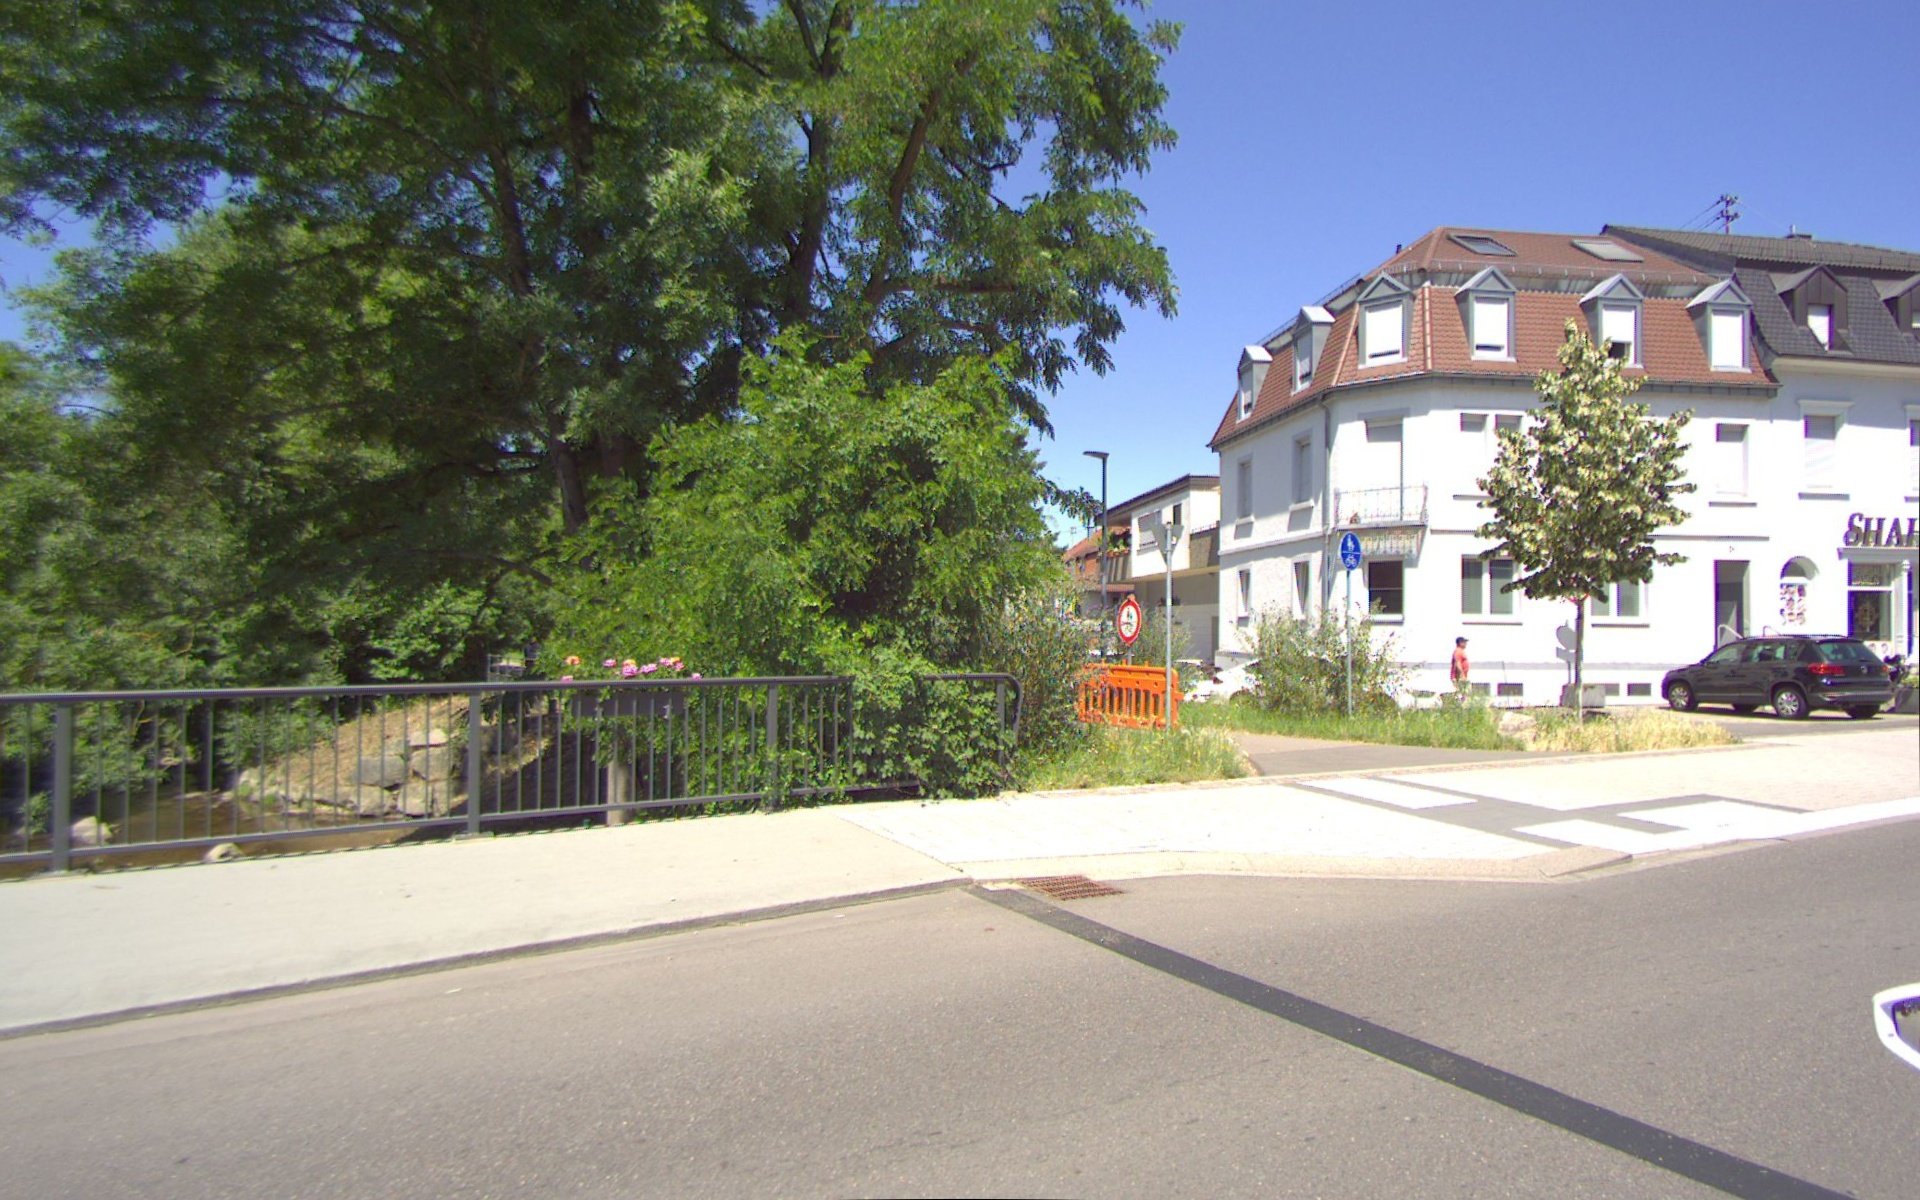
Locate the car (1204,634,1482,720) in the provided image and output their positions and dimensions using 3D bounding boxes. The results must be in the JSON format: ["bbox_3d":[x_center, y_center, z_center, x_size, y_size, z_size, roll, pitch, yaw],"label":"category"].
[{"bbox_3d":[7.259,1.399,19.427,1.985,1.374,4.653,2,-2,-41],"label":"car"}]

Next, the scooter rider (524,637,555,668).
[{"bbox_3d":[-15.157,1.894,36.195,0.796,1.065,0.910,1,0,-38],"label":"scooter rider"}]

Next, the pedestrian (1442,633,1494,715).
[{"bbox_3d":[11.264,1.628,22.267,0.730,1.777,0.731,2,-4,-30],"label":"pedestrian"}]

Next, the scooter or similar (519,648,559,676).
[{"bbox_3d":[-15.180,2.234,36.193,0.911,0.936,1.607,2,-2,-39],"label":"scooter or similar"}]

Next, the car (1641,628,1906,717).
[{"bbox_3d":[17.091,1.457,21.413,1.935,1.684,4.188,1,-2,-9],"label":"car"}]

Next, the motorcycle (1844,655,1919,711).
[{"bbox_3d":[22.409,1.967,23.684,0.818,1.233,2.400,2,-2,-7],"label":"motorcycle"}]

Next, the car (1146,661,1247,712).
[{"bbox_3d":[7.209,2.693,31.013,1.730,1.450,3.998,1,-5,-7],"label":"car"}]
